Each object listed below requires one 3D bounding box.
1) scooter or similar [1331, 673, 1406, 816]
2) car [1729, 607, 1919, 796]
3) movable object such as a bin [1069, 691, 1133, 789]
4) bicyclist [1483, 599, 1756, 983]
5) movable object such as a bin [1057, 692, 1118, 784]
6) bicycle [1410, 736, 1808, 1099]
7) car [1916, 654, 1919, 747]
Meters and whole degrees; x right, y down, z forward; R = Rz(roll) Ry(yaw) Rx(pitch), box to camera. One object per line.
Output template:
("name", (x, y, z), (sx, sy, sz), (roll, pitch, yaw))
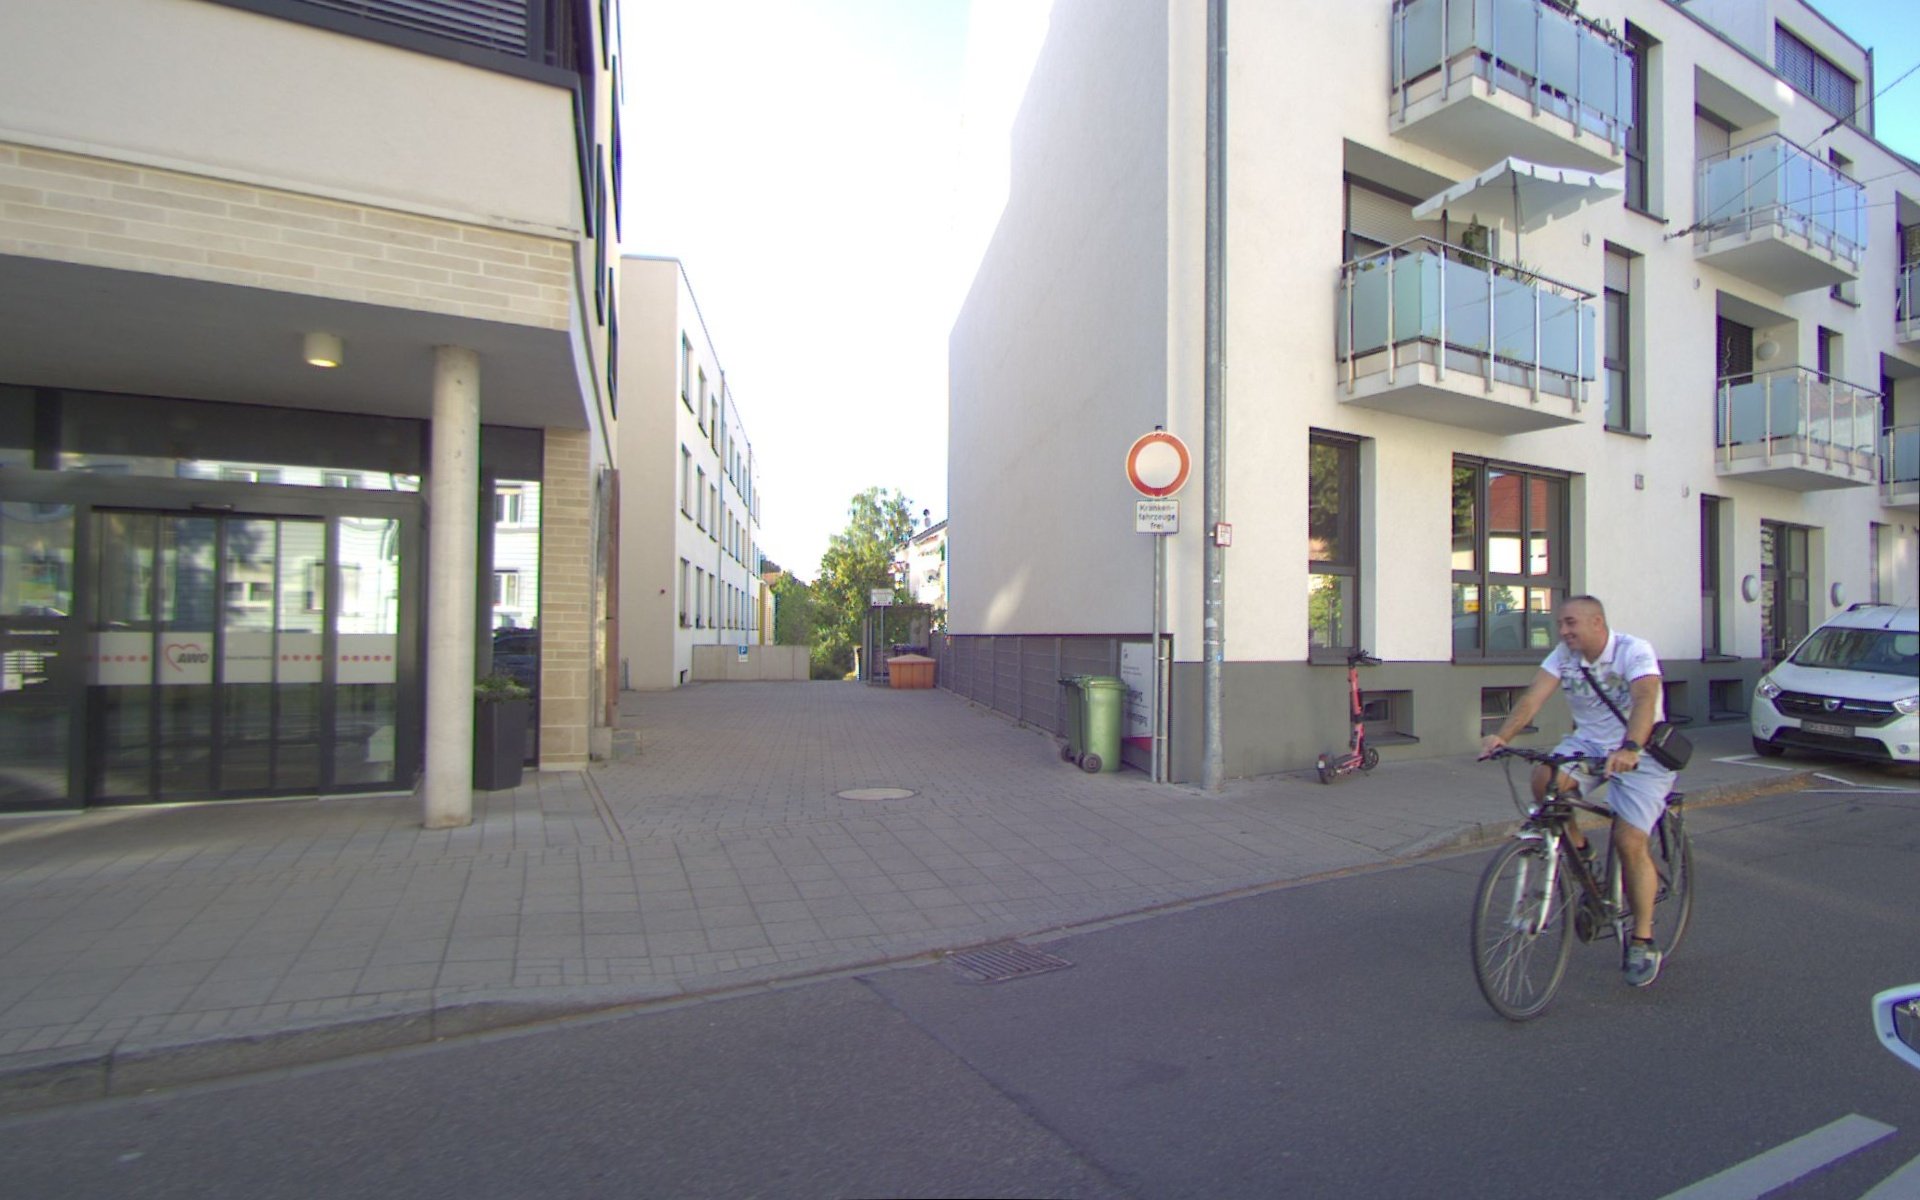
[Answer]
("scooter or similar", (3.904, 1.343, 9.573), (0.222, 1.236, 1.147), (-1, -1, 45))
("car", (11.080, 1.079, 11.916), (4.286, 1.894, 1.800), (2, -1, -33))
("movable object such as a bin", (1.408, 1.391, 10.080), (0.520, 0.913, 0.549), (1, -2, -7))
("bicyclist", (2.715, 0.721, 4.158), (0.791, 1.398, 0.620), (1, -3, -30))
("movable object such as a bin", (1.344, 1.446, 10.645), (0.520, 0.913, 0.549), (1, -2, -7))
("bicycle", (2.699, 1.172, 4.131), (1.762, 1.095, 0.620), (1, -3, -30))
("car", (15.472, 1.438, 14.219), (3.975, 1.290, 1.658), (1, -1, -28))
